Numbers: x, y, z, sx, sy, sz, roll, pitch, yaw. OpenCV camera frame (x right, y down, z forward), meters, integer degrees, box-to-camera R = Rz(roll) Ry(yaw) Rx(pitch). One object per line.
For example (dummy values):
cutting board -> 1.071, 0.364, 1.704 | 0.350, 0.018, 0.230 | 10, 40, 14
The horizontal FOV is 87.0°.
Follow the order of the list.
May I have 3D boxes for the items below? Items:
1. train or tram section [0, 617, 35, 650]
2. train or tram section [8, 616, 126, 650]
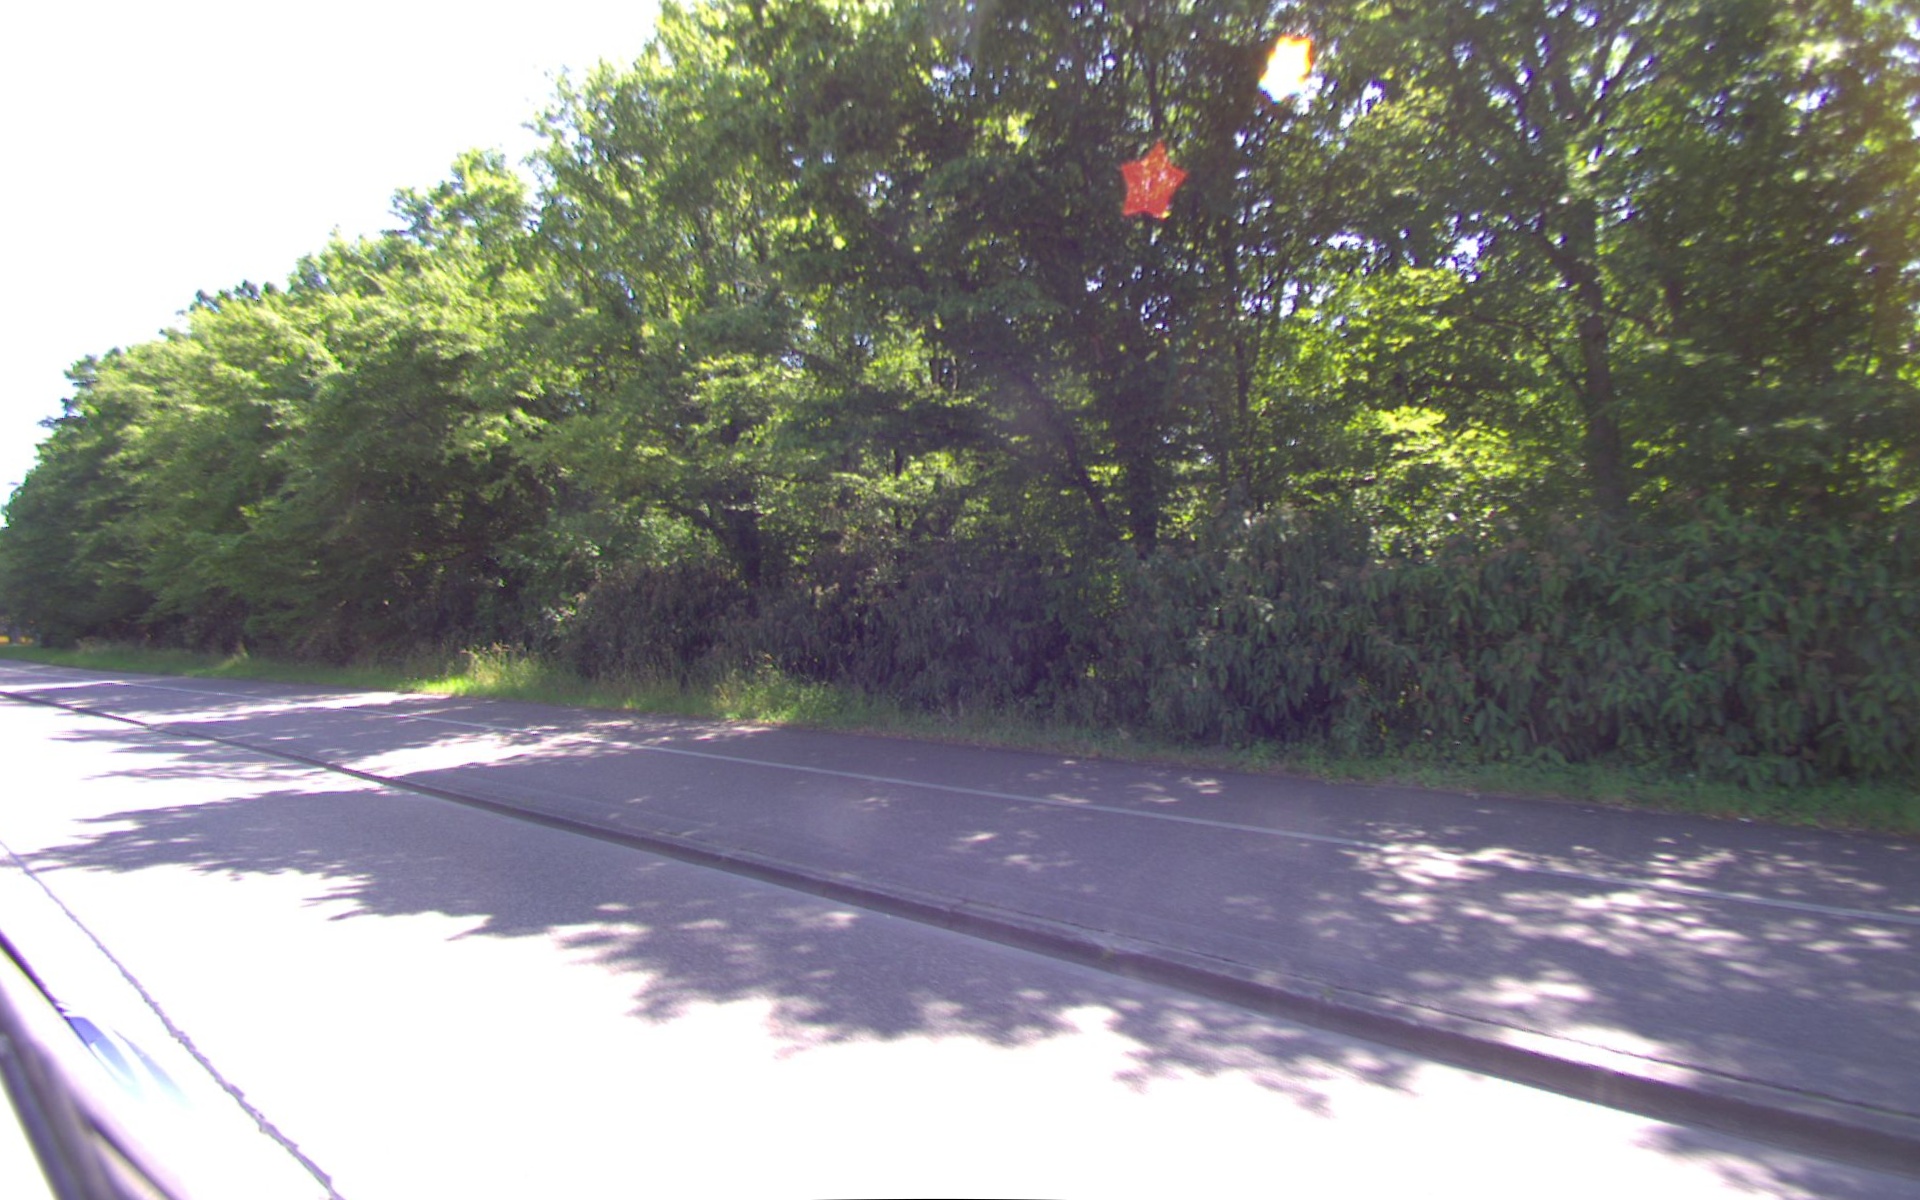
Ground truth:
train or tram section -> -105.930, 3.631, 109.185 | 10.721, 3.492, 2.646 | -1, -2, 6
train or tram section -> -96.994, 3.520, 110.127 | 9.191, 3.492, 2.792 | 0, -1, -19
